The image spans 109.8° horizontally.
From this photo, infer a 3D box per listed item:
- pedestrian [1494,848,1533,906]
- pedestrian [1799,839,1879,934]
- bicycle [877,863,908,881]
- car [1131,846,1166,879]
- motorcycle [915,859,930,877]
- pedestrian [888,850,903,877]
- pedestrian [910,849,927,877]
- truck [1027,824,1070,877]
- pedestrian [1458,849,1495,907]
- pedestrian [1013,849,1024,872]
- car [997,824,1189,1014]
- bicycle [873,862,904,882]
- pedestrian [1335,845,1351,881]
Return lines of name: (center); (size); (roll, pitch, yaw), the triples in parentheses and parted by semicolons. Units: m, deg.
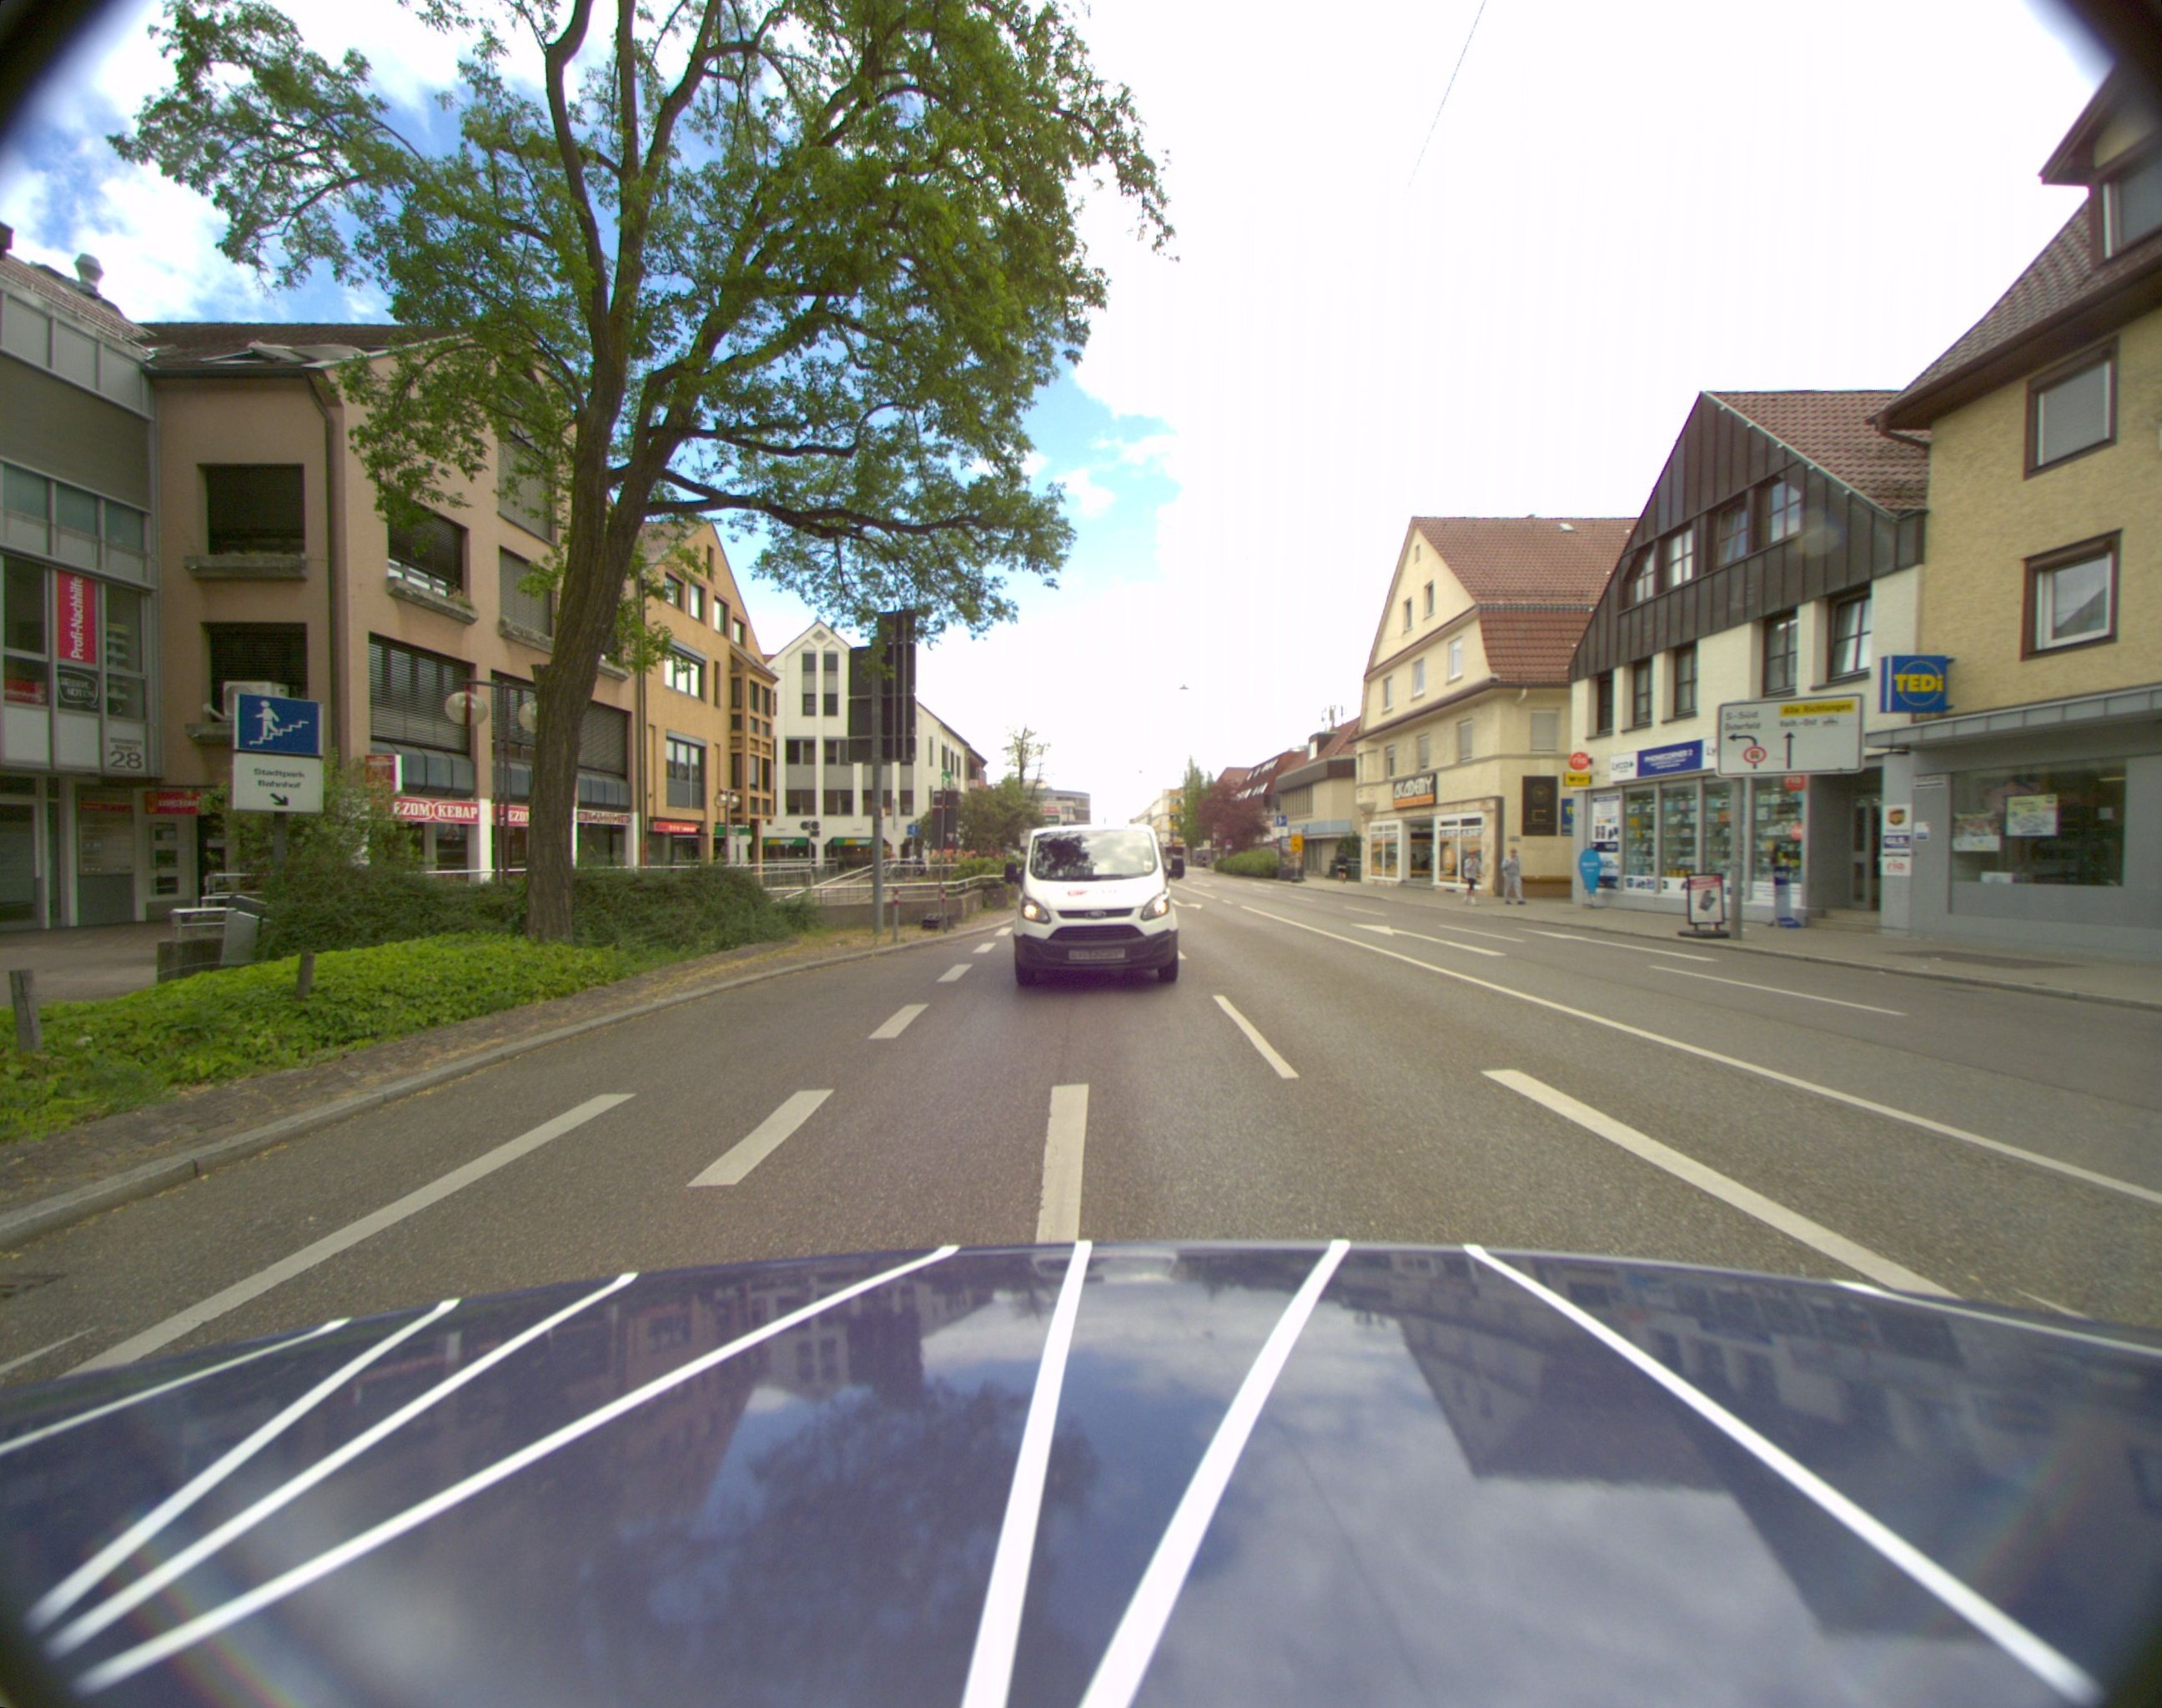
pedestrian: (12.787, 0.660, 22.473); (0.689, 1.660, 0.709); (-3, 1, 1)
pedestrian: (14.028, 0.590, 14.086); (0.688, 1.703, 0.775); (-2, 1, 1)
bicycle: (-10.205, 0.963, 41.144); (1.594, 0.963, 0.461); (0, 1, -14)
car: (3.933, 0.472, 45.060); (1.748, 1.844, 4.634); (-2, 0, 1)
motorcycle: (-9.637, 0.837, 46.350); (0.464, 1.062, 1.995); (0, 0, 1)
pedestrian: (-12.106, 0.590, 49.507); (0.887, 1.747, 0.943); (-1, 1, -11)
pedestrian: (-10.924, 0.586, 51.090); (0.871, 1.812, 0.785); (-2, 1, -3)
truck: (-2.237, -0.294, 55.226); (2.446, 3.464, 8.347); (-2, 1, 1)
pedestrian: (11.804, 0.713, 22.687); (0.689, 1.680, 0.742); (-2, 1, 1)
pedestrian: (-4.312, 0.433, 52.219); (0.653, 1.568, 0.684); (-1, 1, 1)
car: (0.152, 0.679, 10.659); (1.964, 1.948, 5.164); (-2, 0, 0)
bicycle: (-10.217, 0.951, 40.395); (1.594, 0.996, 0.414); (0, 1, -13)
pedestrian: (13.742, 0.468, 39.840); (0.551, 1.878, 0.592); (-2, 1, -3)
